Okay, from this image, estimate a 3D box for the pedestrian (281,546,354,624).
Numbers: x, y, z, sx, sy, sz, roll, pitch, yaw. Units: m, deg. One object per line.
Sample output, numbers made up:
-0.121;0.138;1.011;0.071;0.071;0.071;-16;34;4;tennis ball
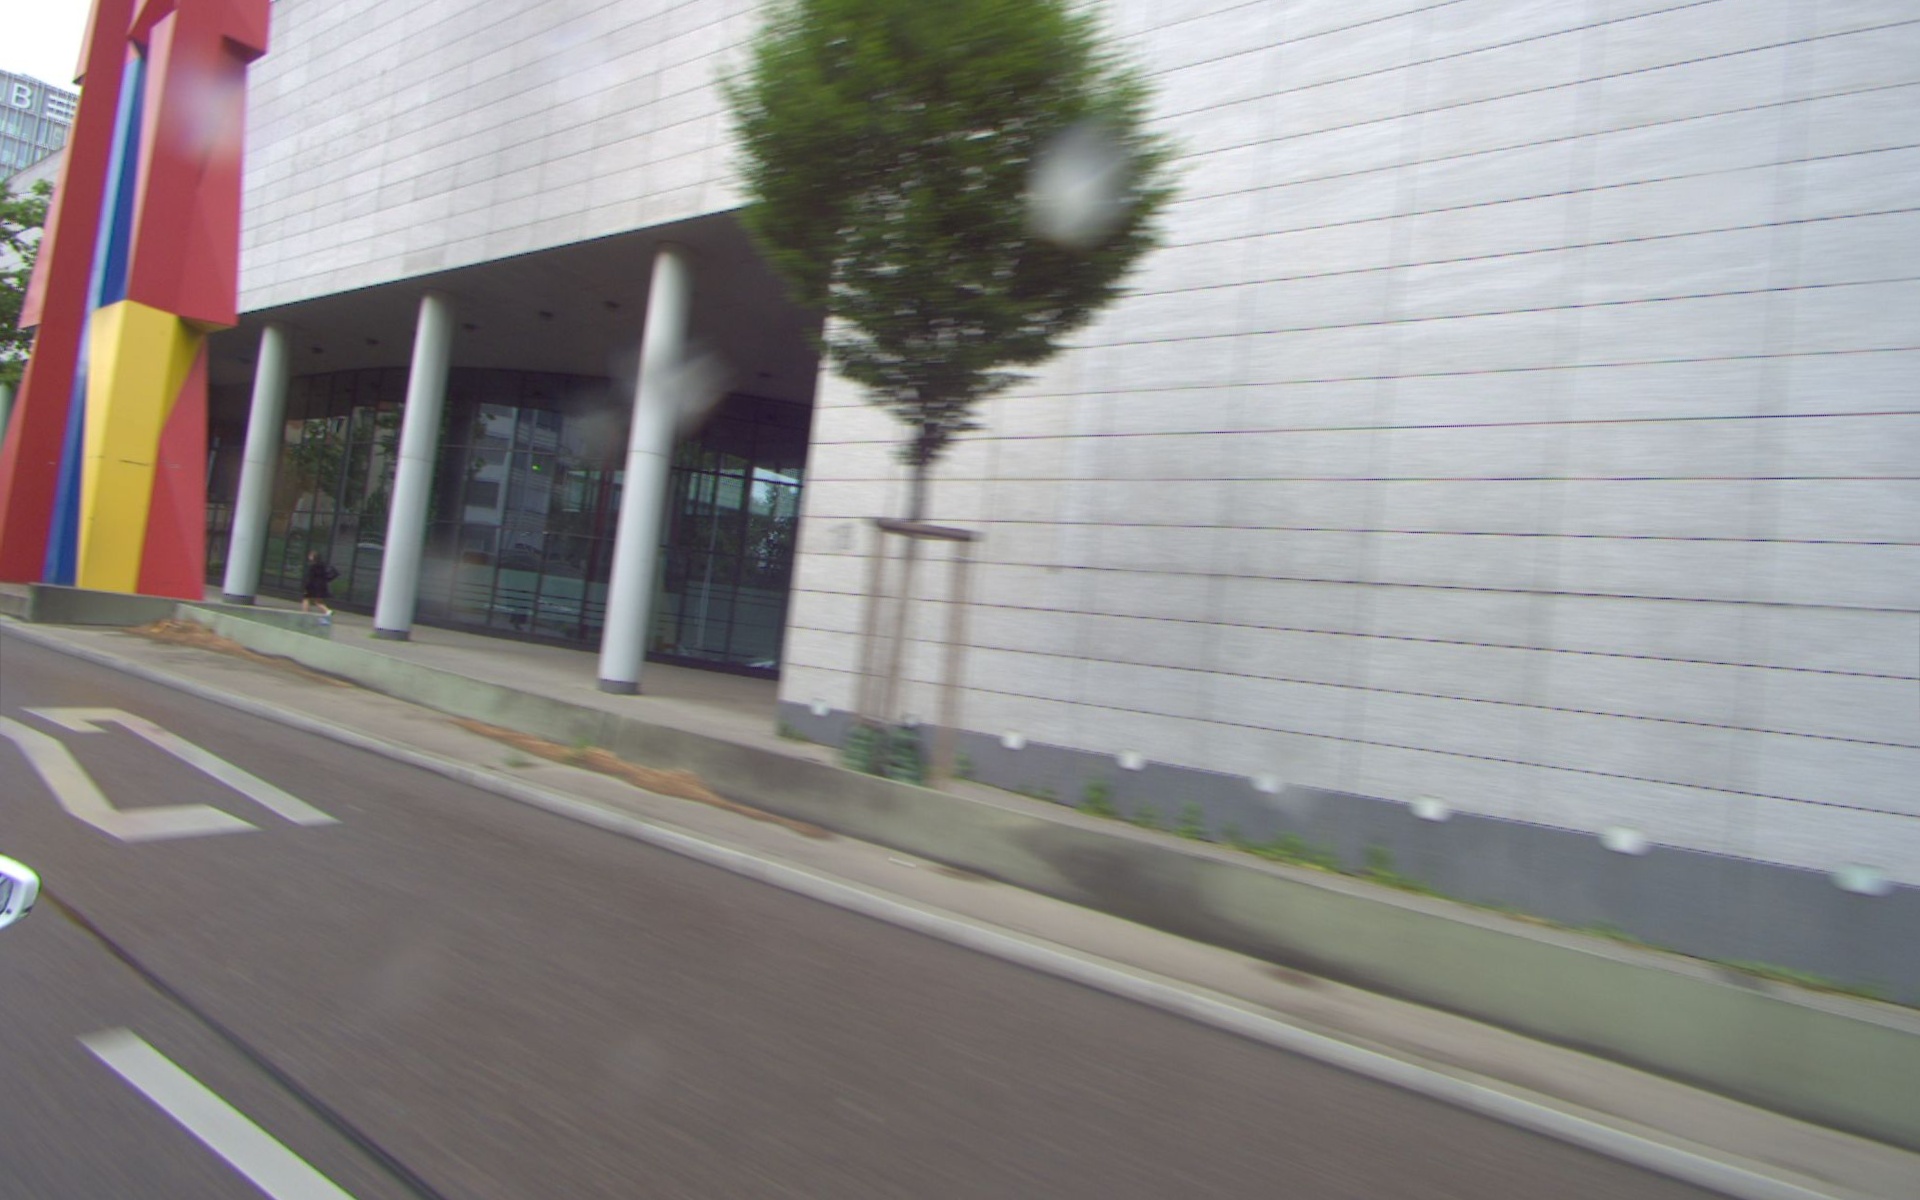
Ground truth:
-14.670;-0.337;22.976;0.828;1.605;0.972;7;-1;29;pedestrian
